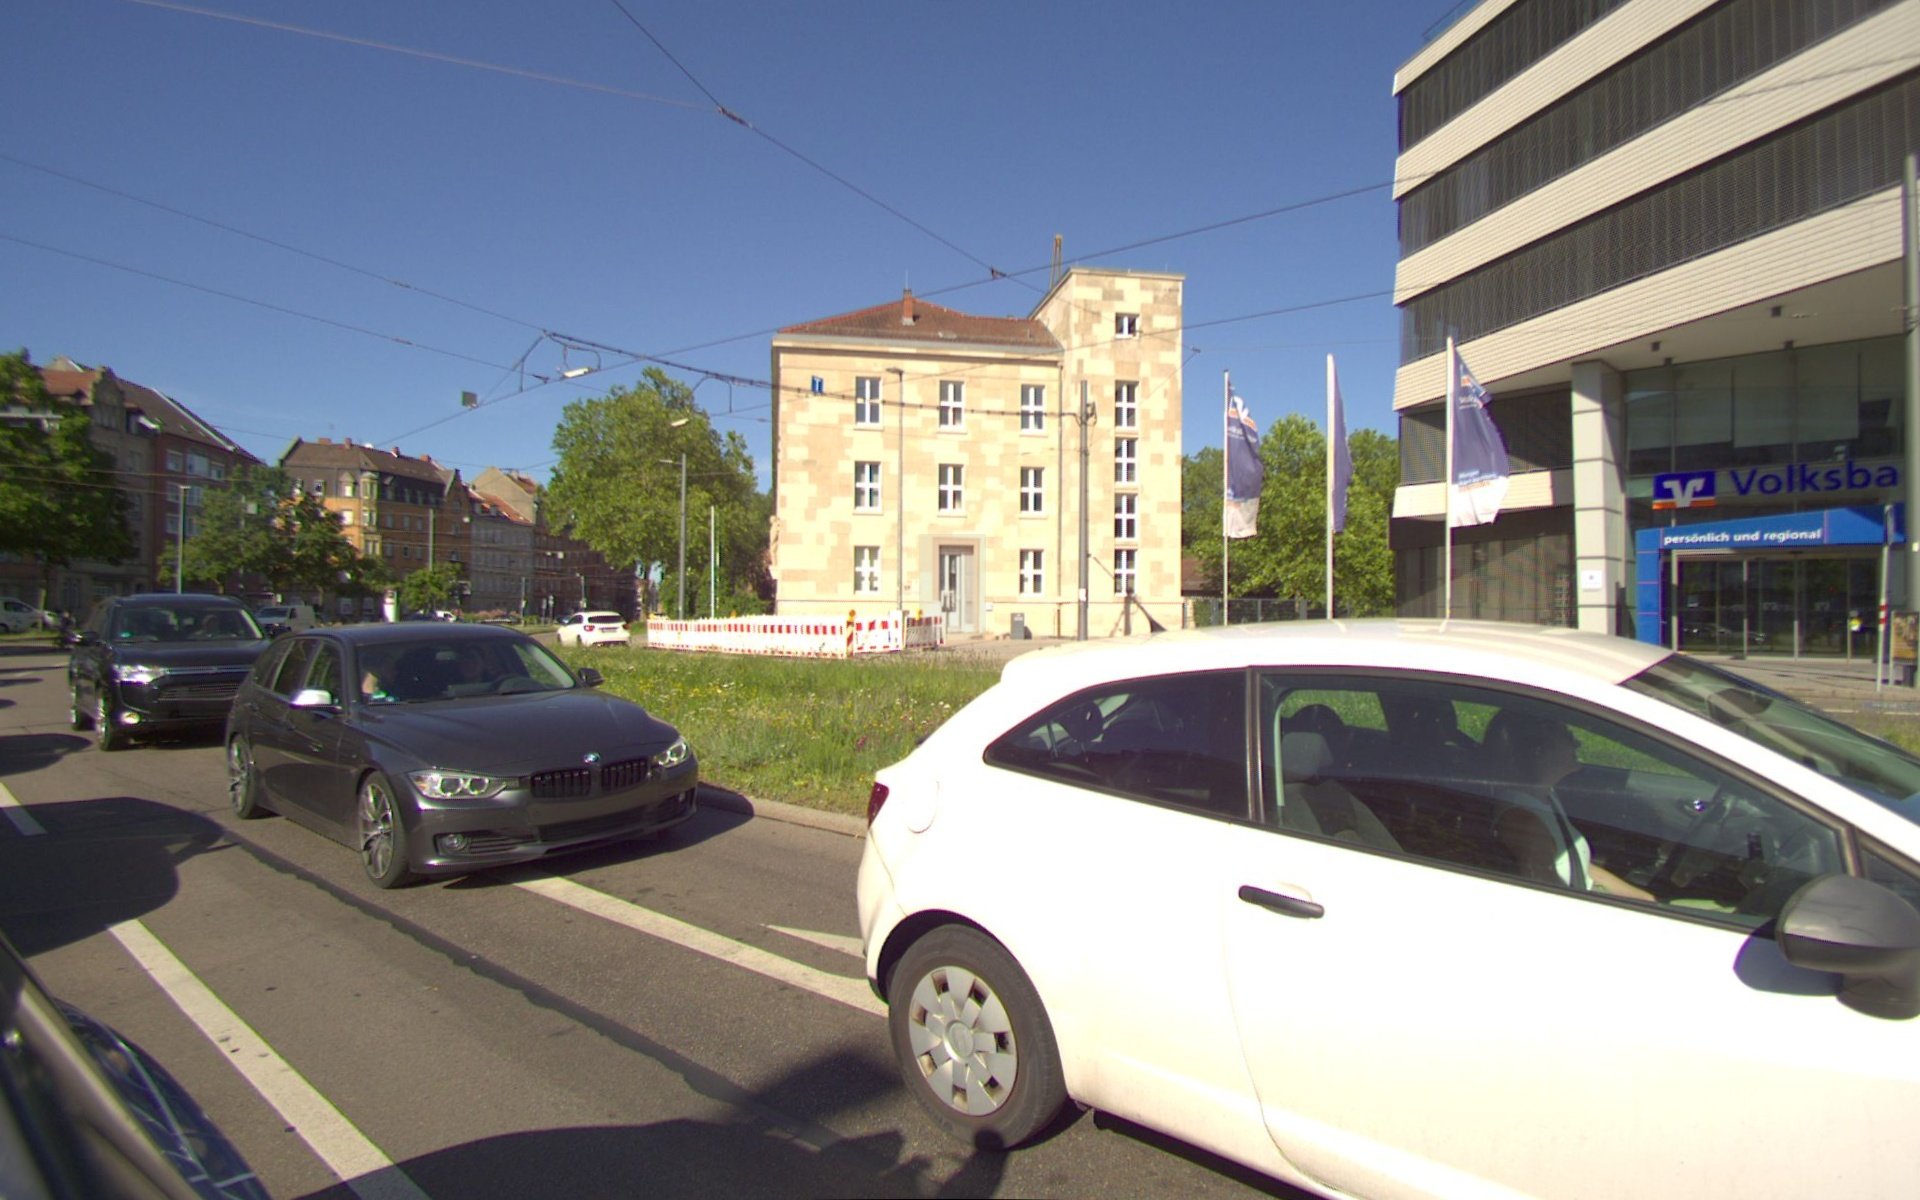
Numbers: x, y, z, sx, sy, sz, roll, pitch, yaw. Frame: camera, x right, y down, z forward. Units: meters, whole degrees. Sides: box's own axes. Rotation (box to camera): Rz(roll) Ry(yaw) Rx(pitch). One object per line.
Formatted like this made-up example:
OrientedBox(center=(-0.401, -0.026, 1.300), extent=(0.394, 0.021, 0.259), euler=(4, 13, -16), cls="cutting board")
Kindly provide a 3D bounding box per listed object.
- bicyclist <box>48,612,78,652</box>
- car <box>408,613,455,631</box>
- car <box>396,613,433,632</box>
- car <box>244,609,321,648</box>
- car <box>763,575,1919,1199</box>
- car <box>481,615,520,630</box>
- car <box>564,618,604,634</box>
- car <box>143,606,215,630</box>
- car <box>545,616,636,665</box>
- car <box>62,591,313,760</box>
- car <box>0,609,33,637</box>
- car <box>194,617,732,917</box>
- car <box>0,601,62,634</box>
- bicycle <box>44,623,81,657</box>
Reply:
OrientedBox(center=(-38.100, 1.356, 42.987), extent=(0.723, 1.707, 0.974), euler=(1, -1, -28), cls="bicyclist")
OrientedBox(center=(-60.098, 2.517, 115.166), extent=(4.513, 1.889, 2.006), euler=(-1, 0, -16), cls="car")
OrientedBox(center=(-44.309, 1.830, 82.300), extent=(1.809, 1.483, 4.728), euler=(1, -1, -19), cls="car")
OrientedBox(center=(-39.133, 1.624, 58.632), extent=(1.951, 2.101, 4.723), euler=(1, -1, -10), cls="car")
OrientedBox(center=(1.483, 0.695, 2.487), extent=(4.020, 1.452, 1.714), euler=(0, 2, 40), cls="car")
OrientedBox(center=(-54.057, 2.684, 119.101), extent=(4.001, 1.669, 1.772), euler=(1, -1, -16), cls="car")
OrientedBox(center=(-42.891, 2.978, 115.505), extent=(4.007, 1.669, 1.769), euler=(1, -1, -6), cls="car")
OrientedBox(center=(-53.929, 1.271, 69.881), extent=(3.771, 1.603, 1.601), euler=(2, -2, -44), cls="car")
OrientedBox(center=(-13.385, 1.419, 36.553), extent=(1.797, 1.658, 4.189), euler=(1, -2, -40), cls="car")
OrientedBox(center=(-9.378, 0.773, 12.138), extent=(1.817, 1.658, 4.400), euler=(-1, -1, -45), cls="car")
OrientedBox(center=(-48.763, 1.150, 50.393), extent=(3.768, 1.390, 1.602), euler=(2, -2, -41), cls="car")
OrientedBox(center=(-3.596, 0.828, 6.887), extent=(4.424, 1.377, 1.719), euler=(-1, 0, 41), cls="car")
OrientedBox(center=(-49.928, 0.890, 52.800), extent=(4.514, 1.680, 1.601), euler=(2, -2, -43), cls="car")
OrientedBox(center=(-38.160, 1.681, 43.051), extent=(0.724, 1.371, 2.082), euler=(1, -1, -28), cls="bicycle")
